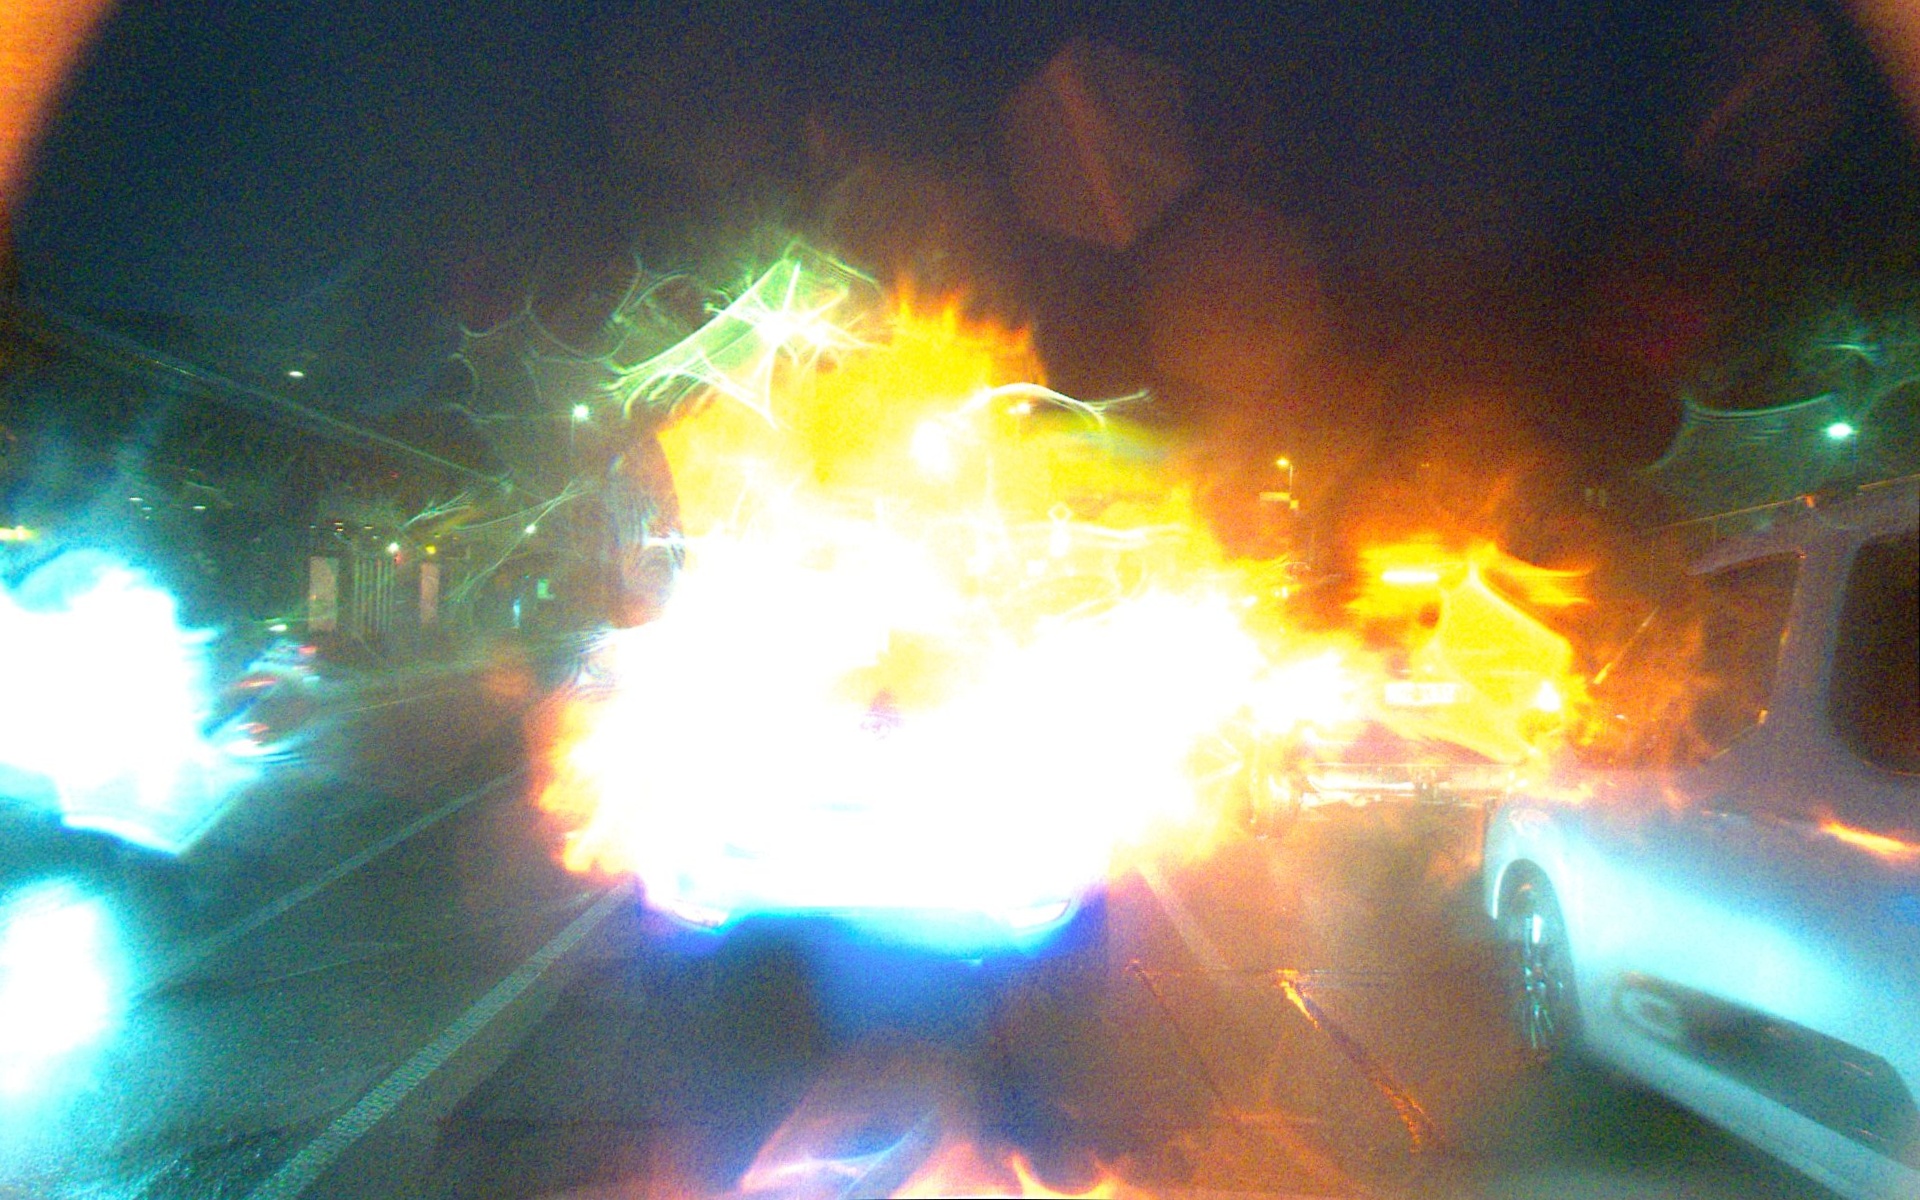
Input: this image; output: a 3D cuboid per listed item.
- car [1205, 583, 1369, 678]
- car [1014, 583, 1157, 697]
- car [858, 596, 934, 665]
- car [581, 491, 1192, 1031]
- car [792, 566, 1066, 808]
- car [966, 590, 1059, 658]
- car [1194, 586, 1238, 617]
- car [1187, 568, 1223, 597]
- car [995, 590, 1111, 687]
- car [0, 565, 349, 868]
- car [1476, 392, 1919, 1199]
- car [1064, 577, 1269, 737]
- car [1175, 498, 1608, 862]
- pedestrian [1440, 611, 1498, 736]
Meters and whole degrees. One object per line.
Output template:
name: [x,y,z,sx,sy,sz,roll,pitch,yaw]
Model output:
car: [5.368,0.452,27.707,1.749,1.467,4.236,0,1,-2]
car: [1.977,0.615,27.094,1.953,1.699,3.999,1,0,-1]
car: [-1.902,0.849,47.802,1.955,1.856,3.995,1,0,-6]
car: [-0.330,0.545,7.660,1.974,1.747,4.449,1,0,-3]
car: [-0.251,0.639,13.948,1.953,1.713,3.999,1,0,-1]
car: [1.230,0.565,40.494,1.821,1.571,3.926,1,0,-5]
car: [14.594,0.070,94.281,1.827,1.675,3.963,-2,0,0]
car: [18.040,-1.277,121.952,1.953,2.049,3.999,1,0,-1]
car: [1.809,0.739,33.520,1.953,1.804,3.998,1,0,-2]
car: [-5.944,0.583,11.175,1.848,1.595,4.487,0,2,2]
car: [2.757,0.562,3.632,1.814,1.897,4.339,1,0,-1]
car: [2.433,0.645,20.477,1.953,1.748,3.999,1,0,-1]
car: [2.778,0.476,11.642,1.929,2.082,3.999,1,0,-1]
pedestrian: [7.230,1.035,23.501,0.610,1.731,0.540,1,-1,-3]
